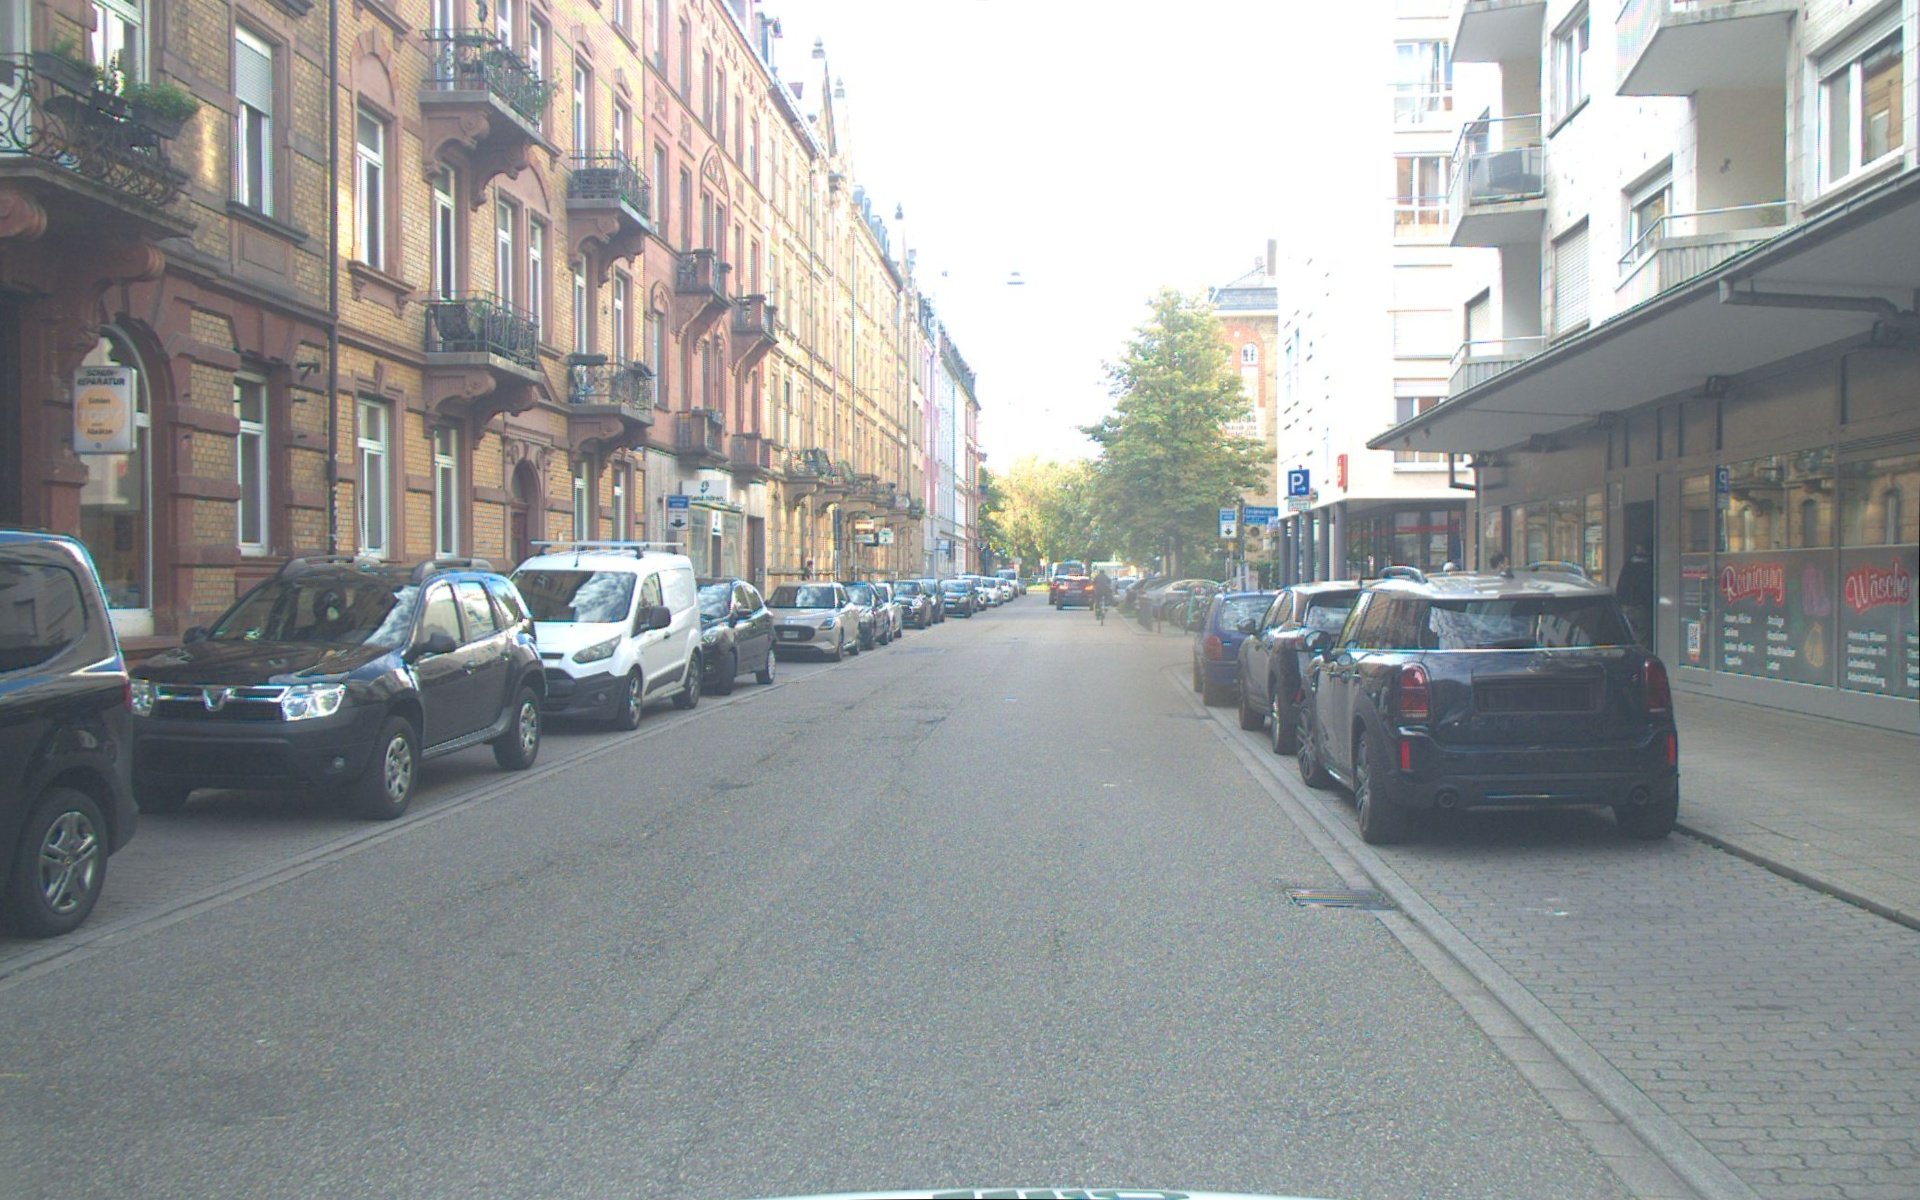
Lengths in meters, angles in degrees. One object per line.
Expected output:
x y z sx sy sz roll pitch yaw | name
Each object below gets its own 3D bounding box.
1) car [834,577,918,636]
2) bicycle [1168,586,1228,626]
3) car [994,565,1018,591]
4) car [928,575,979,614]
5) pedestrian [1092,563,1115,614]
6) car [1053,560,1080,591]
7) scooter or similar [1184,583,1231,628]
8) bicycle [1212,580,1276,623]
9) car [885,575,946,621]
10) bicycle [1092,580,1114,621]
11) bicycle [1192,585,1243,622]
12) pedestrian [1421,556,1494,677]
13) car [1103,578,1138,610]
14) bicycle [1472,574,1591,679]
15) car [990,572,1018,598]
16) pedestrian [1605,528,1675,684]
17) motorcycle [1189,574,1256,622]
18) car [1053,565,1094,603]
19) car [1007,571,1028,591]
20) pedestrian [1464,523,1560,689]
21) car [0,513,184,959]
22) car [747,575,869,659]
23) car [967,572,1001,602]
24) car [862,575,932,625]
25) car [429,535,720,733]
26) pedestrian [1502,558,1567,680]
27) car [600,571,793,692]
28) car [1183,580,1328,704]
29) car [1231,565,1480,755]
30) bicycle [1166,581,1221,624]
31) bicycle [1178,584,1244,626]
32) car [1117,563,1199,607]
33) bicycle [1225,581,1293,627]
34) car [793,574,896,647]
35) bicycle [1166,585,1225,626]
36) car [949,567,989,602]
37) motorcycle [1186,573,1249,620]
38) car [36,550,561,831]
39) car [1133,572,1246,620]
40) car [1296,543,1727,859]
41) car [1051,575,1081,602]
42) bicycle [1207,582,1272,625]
-2.128 0.129 42.787 1.654 1.410 3.869 1 1 4 | car
7.128 0.190 49.490 1.728 1.118 0.412 -2 1 7 | bicycle
3.434 -1.596 122.583 1.654 1.853 3.869 1 1 4 | car
-0.222 -0.246 66.790 1.655 1.393 3.869 4 1 4 | car
4.753 -0.393 54.780 0.703 1.678 0.931 1 1 5 | pedestrian
7.155 -1.665 111.168 1.745 2.055 3.890 1 1 3 | car
6.728 0.155 44.941 1.185 1.167 0.377 -2 2 36 | scooter or similar
8.143 0.042 47.473 1.730 1.166 0.411 -2 1 -2 | bicycle
-1.480 -0.101 56.590 1.654 1.462 3.869 1 1 4 | car
4.748 0.008 54.781 0.703 1.296 1.885 1 1 5 | bicycle
8.656 0.113 55.716 1.629 1.179 0.557 -2 1 6 | bicycle
6.771 0.213 22.550 0.806 1.616 0.781 0 0 6 | pedestrian
8.982 -0.369 92.830 1.889 1.666 4.003 1 1 4 | car
7.717 0.323 22.459 0.899 1.313 2.501 -2 1 5 | bicycle
2.851 -0.971 106.343 1.654 1.577 3.869 1 1 4 | car
8.404 0.066 20.444 0.695 1.892 0.643 0 0 33 | pedestrian
8.622 -0.073 54.367 2.104 1.459 0.766 -2 1 9 | motorcycle
5.568 -0.779 80.648 1.923 1.771 4.043 0 0 4 | car
4.803 -1.566 137.900 1.654 1.577 3.869 1 1 4 | car
6.101 0.055 18.331 0.599 1.756 1.126 -3 1 -1 | pedestrian
-4.779 0.543 5.902 1.723 1.804 4.408 1 1 3 | car
-2.918 0.288 32.535 1.705 1.509 3.986 1 1 4 | car
1.323 -0.696 91.192 1.654 1.577 3.869 1 1 4 | car
-1.873 -0.019 50.438 1.654 1.410 3.869 1 1 4 | car
-4.049 0.282 18.180 1.879 1.904 4.439 0 1 4 | car
7.779 0.248 22.429 0.630 1.616 0.781 -2 0 6 | pedestrian
-3.590 0.386 23.256 1.705 1.509 3.986 1 0 5 | car
3.866 0.495 22.143 1.562 1.464 4.033 -1 1 5 | car
3.700 0.493 16.102 1.653 1.604 3.904 -1 0 3 | car
6.627 0.068 46.984 1.465 1.166 0.411 -2 1 -1 | bicycle
6.919 0.138 45.592 1.730 1.075 0.411 -2 1 -1 | bicycle
9.658 -0.742 80.533 3.902 1.712 1.740 -2 8 8 | car
8.141 0.112 45.097 1.728 1.182 0.651 -2 1 6 | bicycle
-2.546 0.199 37.367 1.705 1.509 3.986 1 1 4 | car
7.280 0.160 51.163 1.756 1.179 0.500 -2 1 7 | bicycle
0.453 -0.746 79.037 1.655 1.577 3.869 2 1 3 | car
8.933 -0.123 57.386 2.104 1.557 0.687 -2 1 9 | motorcycle
-4.464 0.506 11.958 1.952 1.666 4.147 0 1 3 | car
8.252 -0.132 59.689 3.688 1.573 1.728 -2 0 -6 | car
3.358 0.514 10.858 1.755 1.633 3.927 -2 1 5 | car
6.249 -0.703 97.654 1.759 1.497 3.890 1 1 3 | car
7.791 0.090 46.172 1.728 1.106 0.651 -2 1 6 | bicycle
